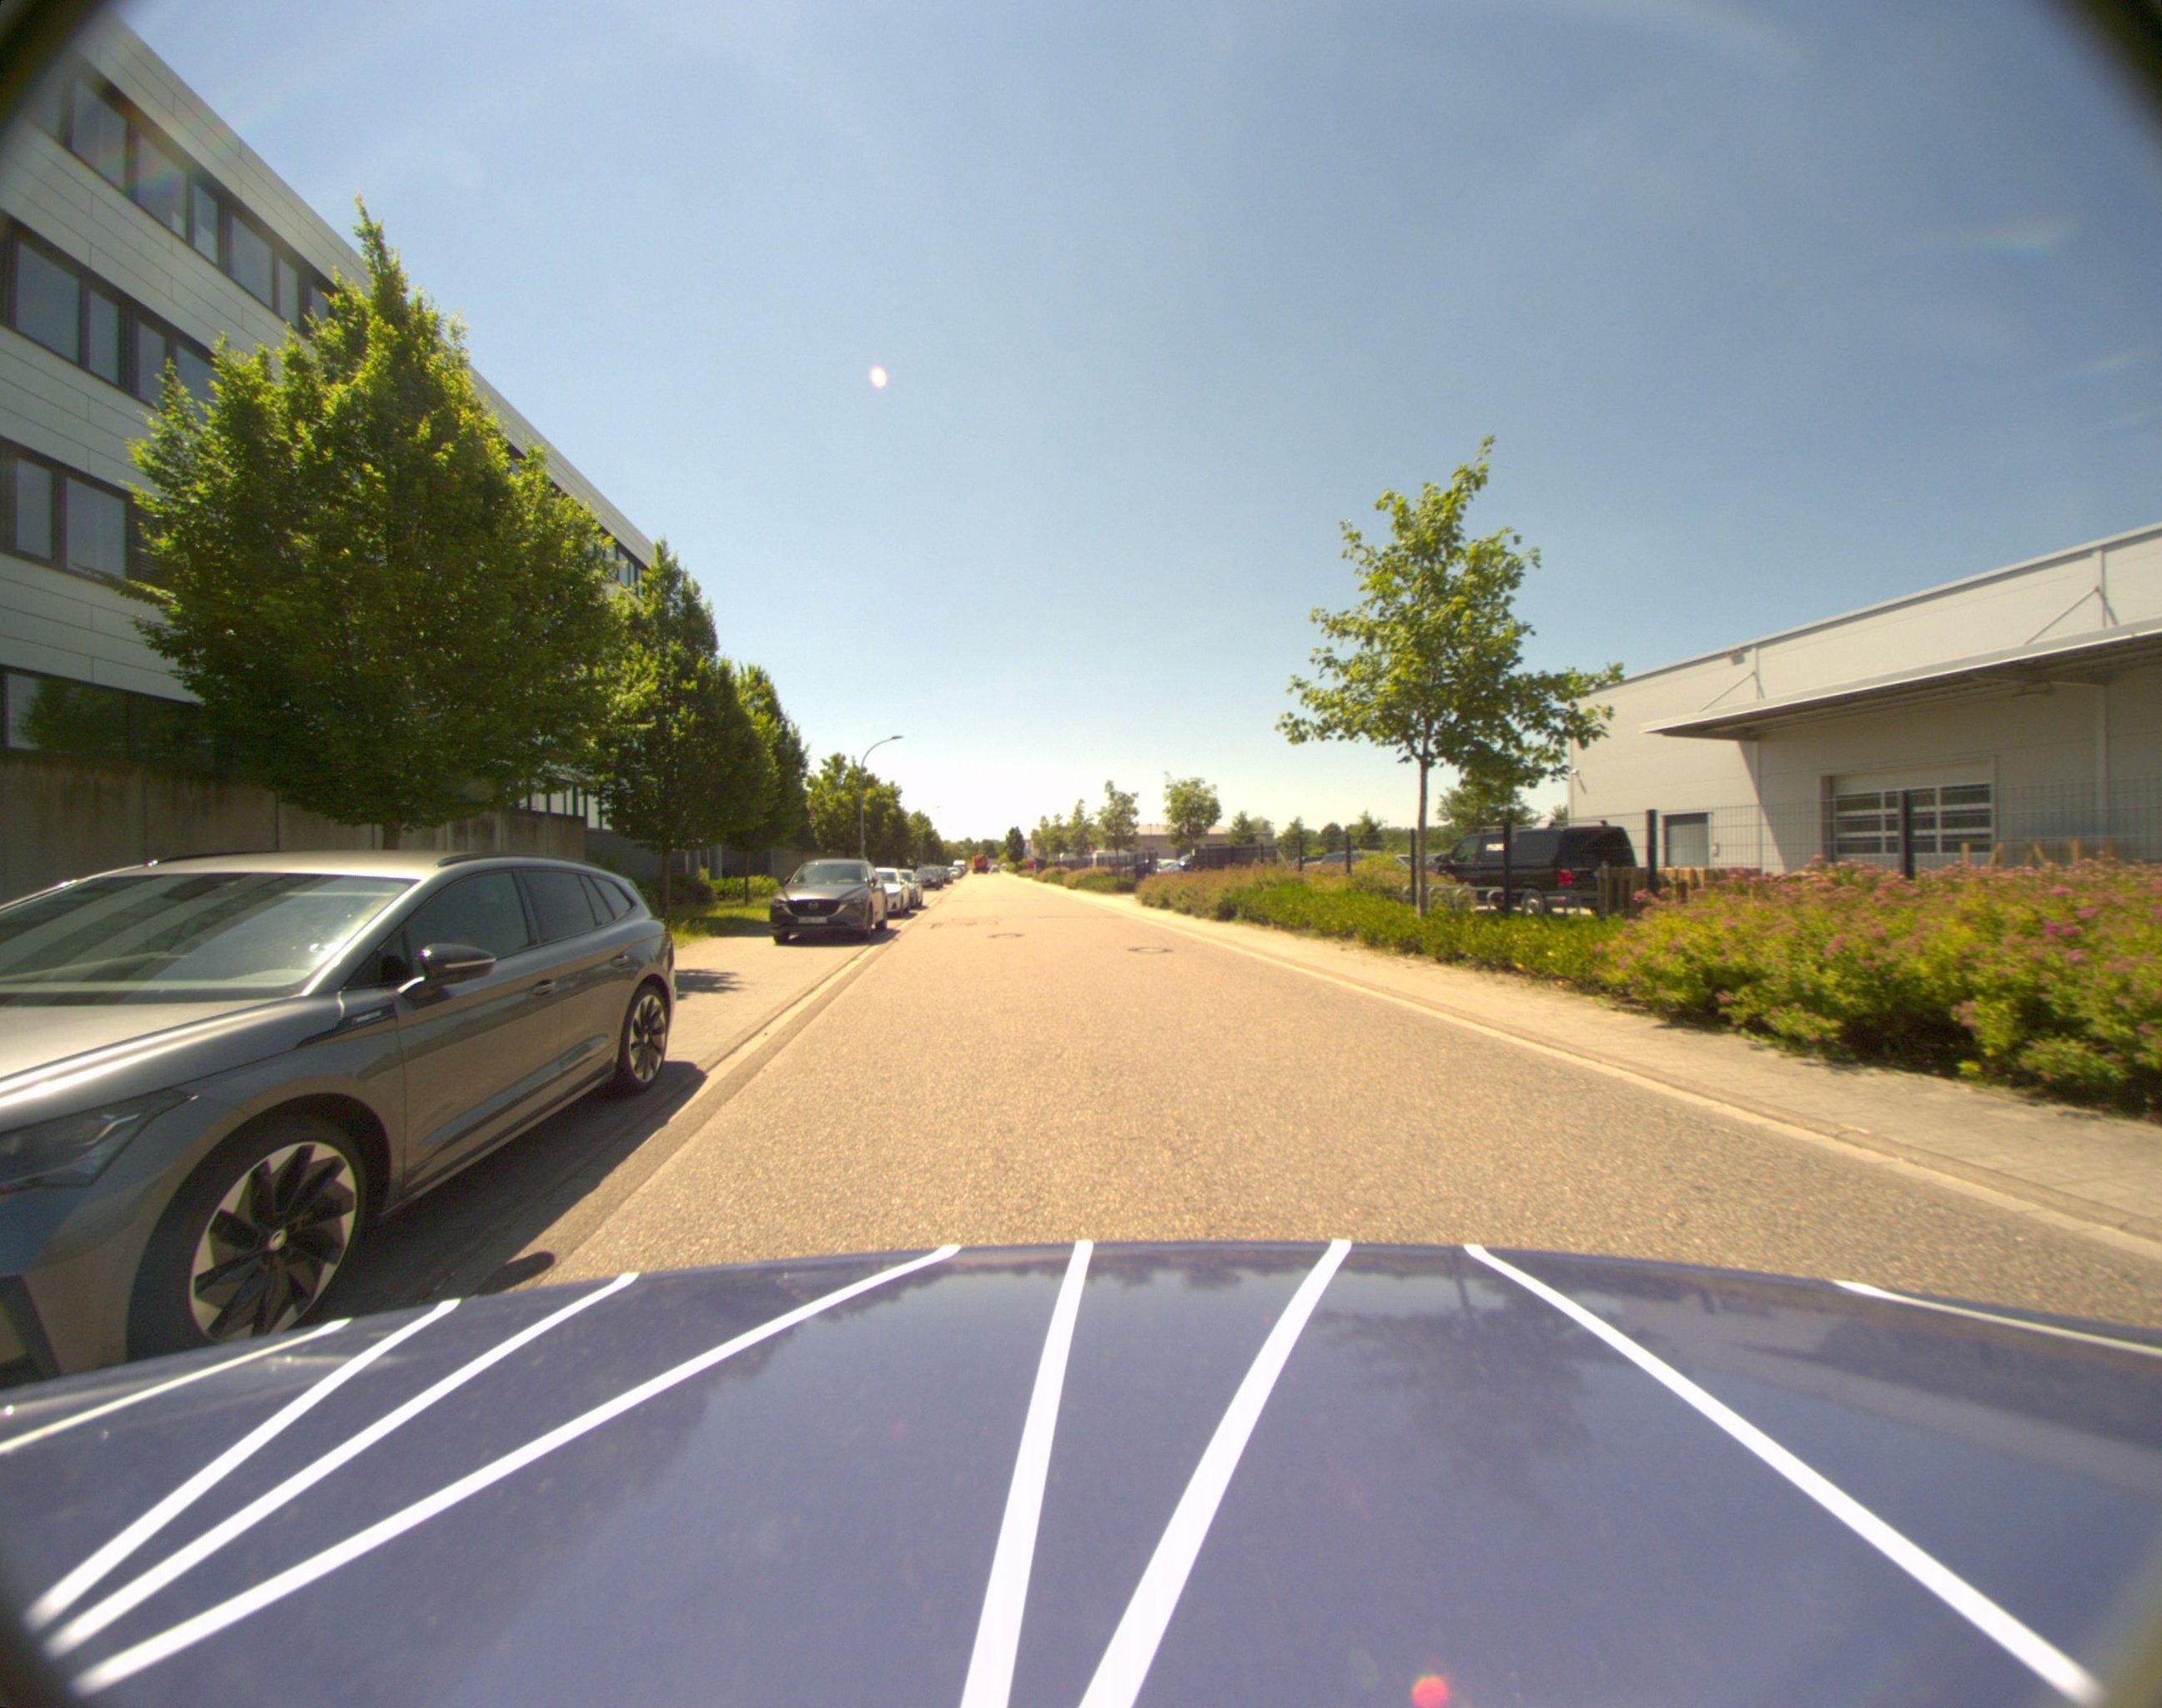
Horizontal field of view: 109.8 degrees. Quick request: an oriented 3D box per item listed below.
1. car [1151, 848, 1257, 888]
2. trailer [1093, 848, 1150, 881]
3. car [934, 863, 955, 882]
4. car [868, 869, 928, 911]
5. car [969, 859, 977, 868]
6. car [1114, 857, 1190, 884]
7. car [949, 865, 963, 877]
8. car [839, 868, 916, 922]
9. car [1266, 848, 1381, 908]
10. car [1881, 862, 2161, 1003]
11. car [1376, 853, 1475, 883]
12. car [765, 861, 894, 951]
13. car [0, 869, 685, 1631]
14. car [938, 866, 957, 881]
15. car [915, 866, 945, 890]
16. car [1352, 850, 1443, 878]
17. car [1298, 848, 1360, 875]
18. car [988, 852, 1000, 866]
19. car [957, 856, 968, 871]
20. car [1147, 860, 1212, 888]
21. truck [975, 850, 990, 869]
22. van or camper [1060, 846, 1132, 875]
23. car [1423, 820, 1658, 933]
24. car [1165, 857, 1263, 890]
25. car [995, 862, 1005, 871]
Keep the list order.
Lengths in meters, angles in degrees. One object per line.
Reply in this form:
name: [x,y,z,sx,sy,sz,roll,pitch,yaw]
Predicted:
car: [6.377,0.724,39.737,5.075,1.840,1.963,-2,0,-8]
trailer: [3.132,0.786,59.152,4.000,2.346,1.725,-3,0,-10]
car: [-12.315,1.666,68.563,1.743,1.660,4.365,0,-1,-8]
car: [-6.702,1.280,28.170,1.721,1.415,3.949,1,-1,-7]
car: [-30.738,2.735,216.394,2.061,2.682,4.832,0,-1,-9]
car: [4.692,1.058,50.571,4.747,1.619,1.999,-2,0,-7]
car: [-16.529,2.194,100.363,1.737,1.501,3.663,0,-1,-9]
car: [-6.174,1.198,23.441,1.721,1.472,4.029,1,-1,-7]
car: [7.653,0.724,24.417,1.999,1.713,4.089,-2,0,-6]
car: [11.048,0.750,7.536,1.802,1.273,3.998,-2,0,-6]
car: [17.244,0.700,38.083,4.120,1.342,1.879,-2,0,-8]
car: [-5.164,0.991,16.167,1.763,1.653,4.360,0,-1,-7]
car: [-3.571,0.925,3.333,1.810,1.652,4.605,1,-1,-8]
car: [-13.094,1.914,74.876,1.712,1.448,4.186,0,-1,-8]
car: [-10.006,1.561,50.484,1.697,1.467,4.266,0,-1,-8]
car: [16.959,0.550,40.773,4.120,1.342,1.879,-2,0,-8]
car: [15.839,0.498,48.566,3.483,1.575,1.476,-2,0,-8]
car: [-19.747,1.175,172.803,2.602,3.212,6.218,-1,0,-7]
car: [-22.038,1.783,141.474,2.061,2.682,4.832,0,-1,-9]
car: [5.860,1.183,45.459,3.381,1.489,1.903,-2,0,-8]
truck: [-18.907,1.077,145.071,2.608,3.524,10.494,0,-1,-9]
van or camper: [1.464,0.673,75.268,6.797,2.668,2.574,-1,0,-7]
car: [9.941,0.441,17.017,2.007,2.086,4.691,-3,0,-6]
car: [6.469,0.927,37.247,4.319,1.438,1.963,-2,0,-8]
car: [-16.171,2.449,151.411,2.000,1.674,3.998,-1,-1,-7]
